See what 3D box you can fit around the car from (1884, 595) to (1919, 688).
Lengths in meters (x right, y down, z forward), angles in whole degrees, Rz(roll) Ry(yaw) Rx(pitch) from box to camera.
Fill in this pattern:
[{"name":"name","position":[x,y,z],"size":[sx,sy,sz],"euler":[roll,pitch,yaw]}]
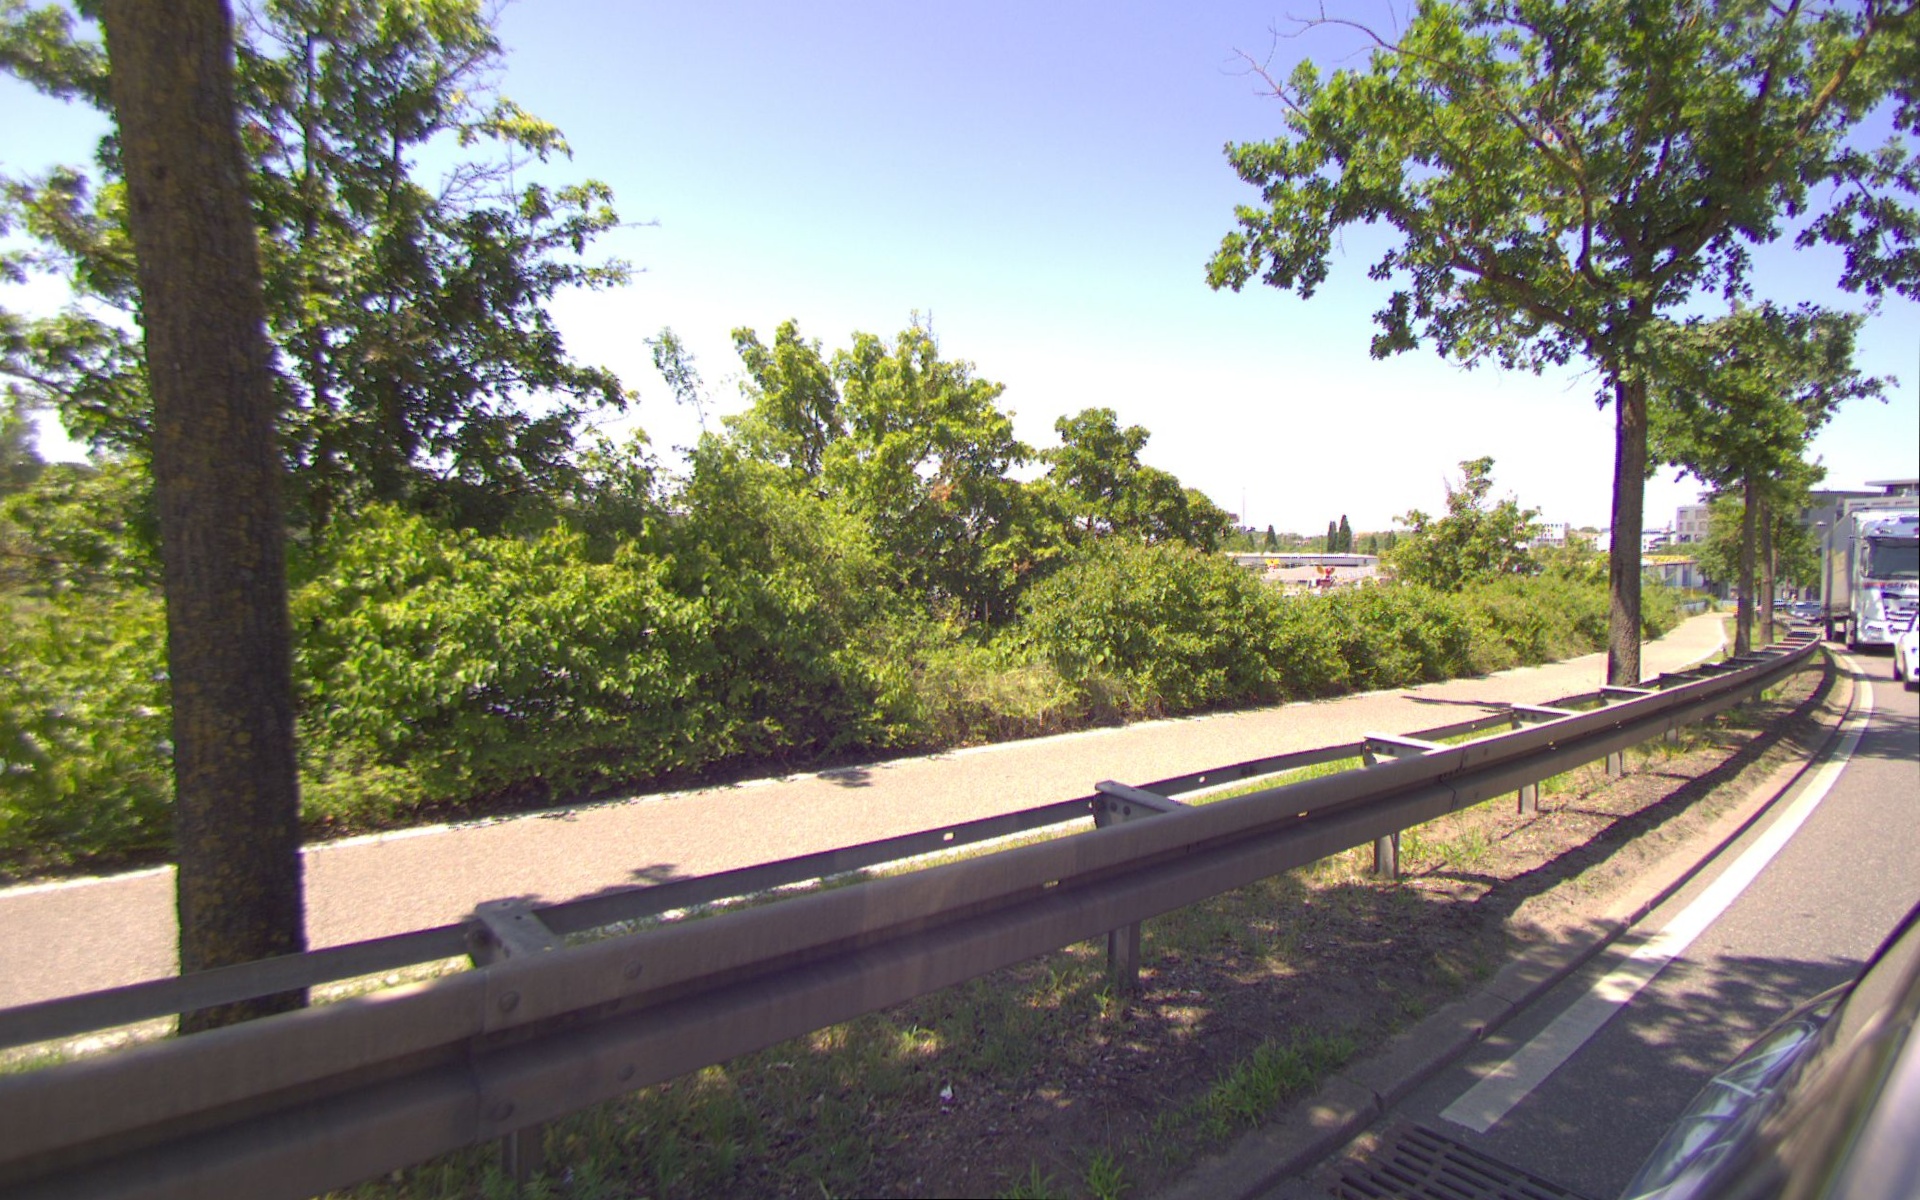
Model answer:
[{"name":"car","position":[16.624,0.645,16.653],"size":[3.653,1.446,1.814],"euler":[0,1,-43]}]

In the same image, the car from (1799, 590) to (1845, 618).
[{"name":"car","position":[50.584,0.194,59.374],"size":[1.969,1.596,3.940],"euler":[1,1,42]}]

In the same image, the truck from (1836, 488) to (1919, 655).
[{"name":"truck","position":[27.756,-0.766,29.455],"size":[2.844,4.323,8.696],"euler":[0,0,37]}]

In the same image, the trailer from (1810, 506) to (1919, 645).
[{"name":"trailer","position":[33.276,-0.809,36.787],"size":[2.866,4.267,13.820],"euler":[1,1,37]}]
